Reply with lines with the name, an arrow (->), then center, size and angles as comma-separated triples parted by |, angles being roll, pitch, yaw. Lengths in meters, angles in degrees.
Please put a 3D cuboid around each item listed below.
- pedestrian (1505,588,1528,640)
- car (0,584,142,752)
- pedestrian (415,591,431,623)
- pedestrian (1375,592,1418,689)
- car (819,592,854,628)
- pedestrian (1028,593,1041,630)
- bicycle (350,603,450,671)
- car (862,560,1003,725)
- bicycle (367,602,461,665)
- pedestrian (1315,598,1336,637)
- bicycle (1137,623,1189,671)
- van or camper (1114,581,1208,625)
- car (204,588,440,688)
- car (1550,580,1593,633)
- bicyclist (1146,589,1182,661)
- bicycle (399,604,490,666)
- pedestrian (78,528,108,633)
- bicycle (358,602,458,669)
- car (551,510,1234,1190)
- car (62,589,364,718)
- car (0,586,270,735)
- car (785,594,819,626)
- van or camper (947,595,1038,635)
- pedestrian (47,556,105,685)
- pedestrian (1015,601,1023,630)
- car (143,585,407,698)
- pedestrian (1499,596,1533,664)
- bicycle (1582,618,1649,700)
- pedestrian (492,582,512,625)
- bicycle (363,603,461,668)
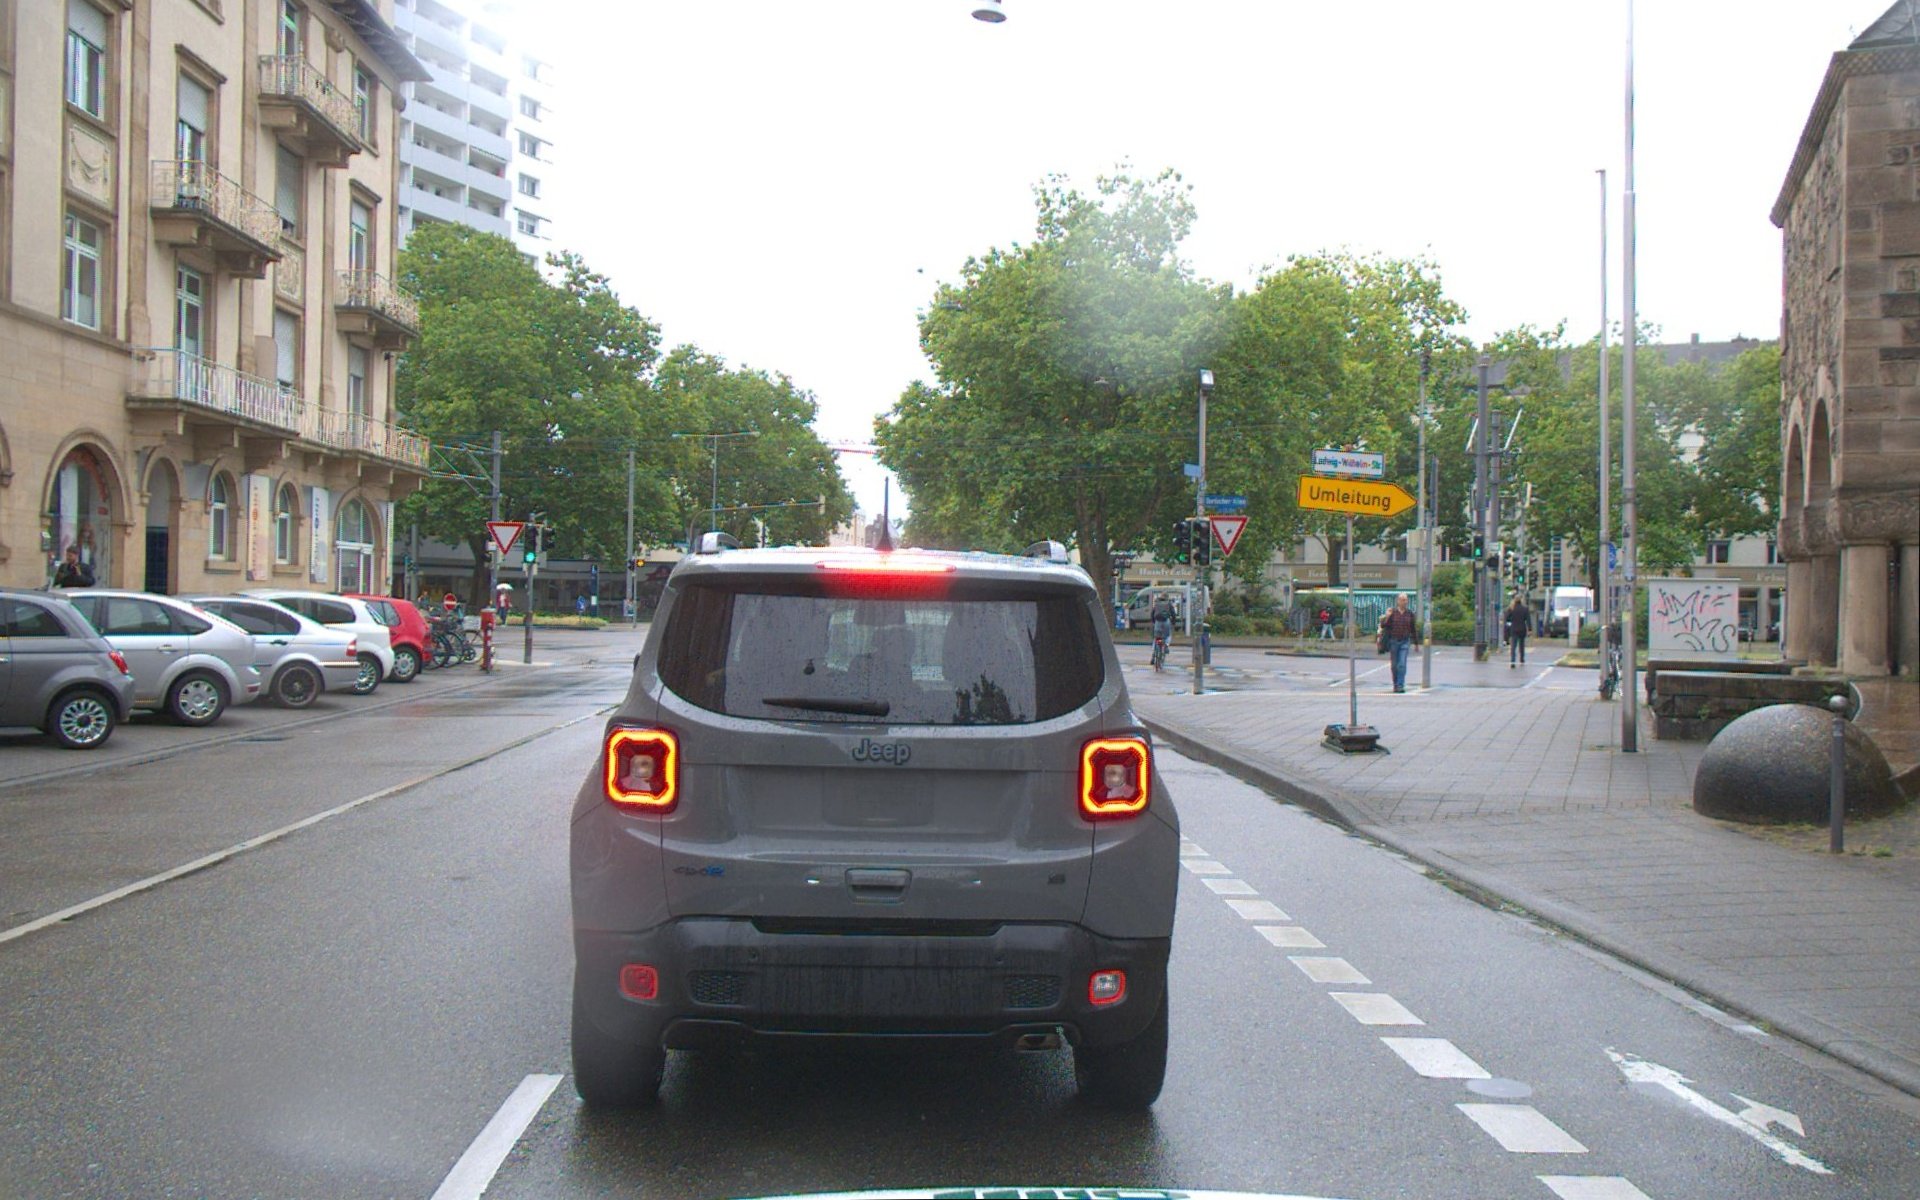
pedestrian -> 22.184, 0.539, 65.918 | 0.789, 2.049, 0.589 | 0, 0, 26
car -> -9.959, 0.635, 16.021 | 3.372, 1.585, 1.628 | 1, 0, -41
pedestrian -> -26.554, 0.329, 81.791 | 0.433, 1.556, 0.643 | 0, 0, 24
pedestrian -> 8.215, 0.748, 31.144 | 0.769, 1.790, 0.946 | 0, 0, 14
car -> -6.297, 0.501, 84.197 | 1.688, 1.769, 3.726 | 1, 0, -5
pedestrian -> 4.184, 0.643, 92.746 | 0.637, 2.049, 0.483 | 1, 0, 11
bicycle -> -10.750, 0.703, 31.777 | 1.728, 1.288, 0.522 | 0, 0, -3
car -> -0.387, 0.524, 22.652 | 1.734, 2.049, 3.999 | 1, 0, -1
bicycle -> -11.216, 0.683, 34.027 | 1.728, 1.288, 0.608 | 0, 0, -3
pedestrian -> 15.261, 0.731, 69.011 | 0.660, 1.581, 0.761 | 0, -2, 27
bicycle -> 4.753, 1.066, 38.492 | 0.677, 1.039, 2.659 | 0, 0, 19
van or camper -> 11.501, 0.169, 94.950 | 5.149, 2.356, 2.090 | 1, 0, 3
car -> -10.741, 0.616, 27.945 | 3.372, 1.585, 1.681 | 1, 0, -41
car -> 31.210, 0.309, 84.326 | 1.868, 2.600, 4.786 | 0, 0, 22
bicyclist -> 4.758, 0.580, 38.517 | 0.672, 1.646, 0.884 | 0, 0, 19
bicycle -> -10.872, 0.730, 34.913 | 1.728, 1.288, 0.608 | 0, 0, -3
pedestrian -> -15.341, -0.344, 29.269 | 0.359, 1.854, 0.347 | 0, -1, -4
bicycle -> -10.779, 0.694, 32.323 | 1.774, 1.288, 0.498 | 0, 0, -3
car -> -0.229, 0.628, 6.156 | 1.739, 1.716, 3.846 | 0, 0, -2
car -> -10.000, 0.673, 22.233 | 3.372, 1.585, 1.681 | 1, 0, -41
car -> -9.955, 0.651, 19.050 | 3.372, 1.585, 1.681 | 1, 0, -41
car -> -8.501, 0.517, 89.219 | 1.779, 1.700, 3.916 | 1, 0, -5
van or camper -> 2.429, 1.089, 124.764 | 6.395, 2.963, 2.493 | 0, 0, 24
pedestrian -> -14.215, 0.325, 26.612 | 0.556, 2.049, 0.654 | 1, 0, -1
pedestrian -> 3.604, 0.961, 101.499 | 0.448, 1.733, 0.424 | 1, 0, -1
car -> -10.353, 0.596, 25.084 | 3.372, 1.585, 1.681 | 1, 0, -41
pedestrian -> 13.867, 0.737, 41.237 | 0.767, 1.674, 0.655 | 0, 0, 23
bicycle -> 9.846, 0.862, 24.907 | 0.322, 1.174, 2.076 | 0, 0, 4
pedestrian -> -19.893, 0.154, 71.876 | 0.605, 1.858, 0.695 | 0, 0, 12
bicycle -> -10.919, 0.702, 33.004 | 1.774, 1.288, 0.498 | 0, 0, -3
